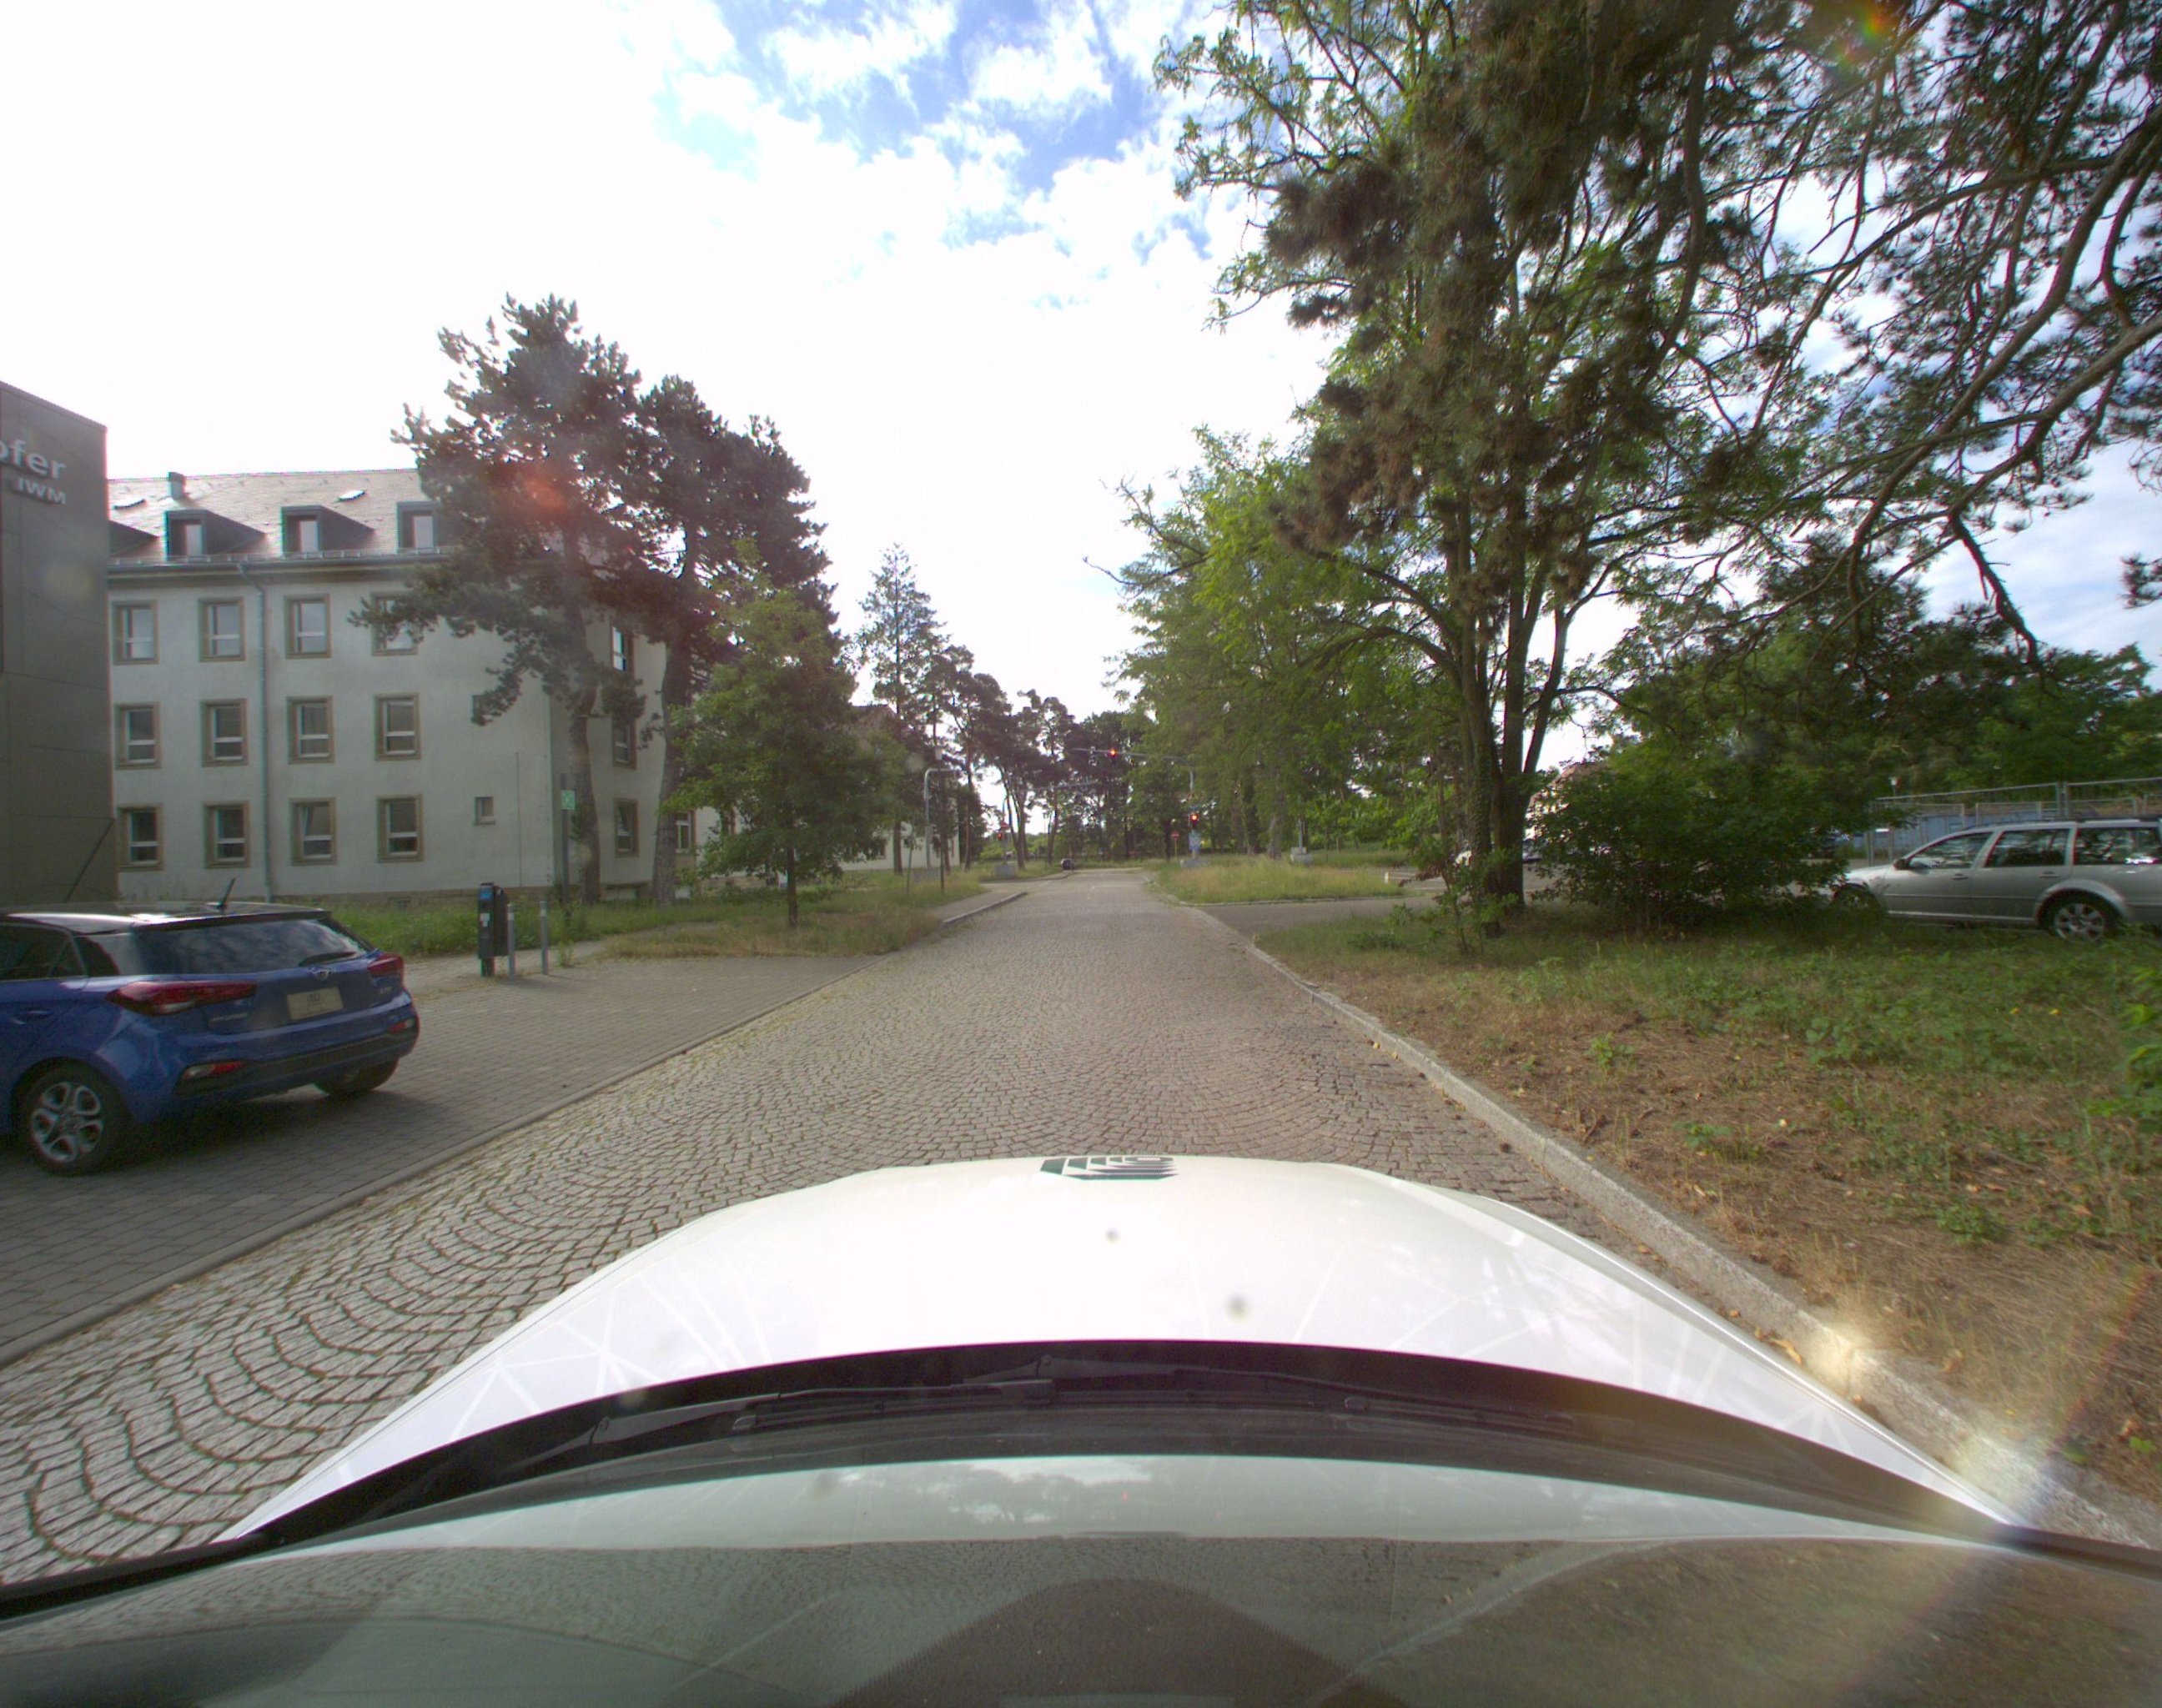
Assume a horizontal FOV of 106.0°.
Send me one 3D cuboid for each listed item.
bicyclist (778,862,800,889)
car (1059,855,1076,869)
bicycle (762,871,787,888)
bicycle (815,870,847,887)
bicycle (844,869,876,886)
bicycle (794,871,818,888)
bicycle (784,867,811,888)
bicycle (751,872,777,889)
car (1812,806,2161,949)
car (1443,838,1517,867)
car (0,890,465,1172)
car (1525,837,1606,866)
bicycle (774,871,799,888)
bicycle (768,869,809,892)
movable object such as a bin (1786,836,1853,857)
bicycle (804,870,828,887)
[{"bbox_3d":[-18.461,1.348,51.530,0.916,1.697,0.958,-2,-1,4],"label":"bicyclist"},{"bbox_3d":[-1.798,1.049,111.472,2.048,1.846,4.001,-2,0,1],"label":"car"},{"bbox_3d":[-20.936,1.754,55.648,0.733,1.076,2.274,-2,0,2],"label":"bicycle"},{"bbox_3d":[-16.668,1.624,54.406,1.848,1.076,0.739,-2,0,3],"label":"bicycle"},{"bbox_3d":[-14.785,1.567,54.401,1.848,1.076,0.832,-2,0,3],"label":"bicycle"},{"bbox_3d":[-18.750,1.719,55.626,0.733,1.076,2.274,-2,0,2],"label":"bicycle"},{"bbox_3d":[-19.484,1.599,55.999,0.733,1.385,2.713,-2,0,2],"label":"bicycle"},{"bbox_3d":[-21.664,1.777,55.737,0.733,1.076,2.274,-2,0,2],"label":"bicycle"},{"bbox_3d":[11.614,0.247,10.028,1.640,1.427,4.073,1,0,1],"label":"car"},{"bbox_3d":[23.084,-0.068,47.319,1.988,1.481,4.422,-2,-2,-2],"label":"car"},{"bbox_3d":[-6.756,1.040,5.556,3.748,1.478,1.854,-1,0,4],"label":"car"},{"bbox_3d":[28.269,-0.123,47.671,1.988,1.481,4.422,-2,-2,-2],"label":"car"},{"bbox_3d":[-20.275,1.759,56.126,0.733,1.076,2.274,-2,0,2],"label":"bicycle"},{"bbox_3d":[-18.485,1.661,51.530,2.169,1.387,0.940,-2,0,4],"label":"bicycle"},{"bbox_3d":[31.479,-0.320,34.760,1.179,0.825,1.957,-2,0,6],"label":"movable object such as a bin"},{"bbox_3d":[-18.107,1.690,55.691,0.733,1.076,2.274,-2,0,2],"label":"bicycle"}]
